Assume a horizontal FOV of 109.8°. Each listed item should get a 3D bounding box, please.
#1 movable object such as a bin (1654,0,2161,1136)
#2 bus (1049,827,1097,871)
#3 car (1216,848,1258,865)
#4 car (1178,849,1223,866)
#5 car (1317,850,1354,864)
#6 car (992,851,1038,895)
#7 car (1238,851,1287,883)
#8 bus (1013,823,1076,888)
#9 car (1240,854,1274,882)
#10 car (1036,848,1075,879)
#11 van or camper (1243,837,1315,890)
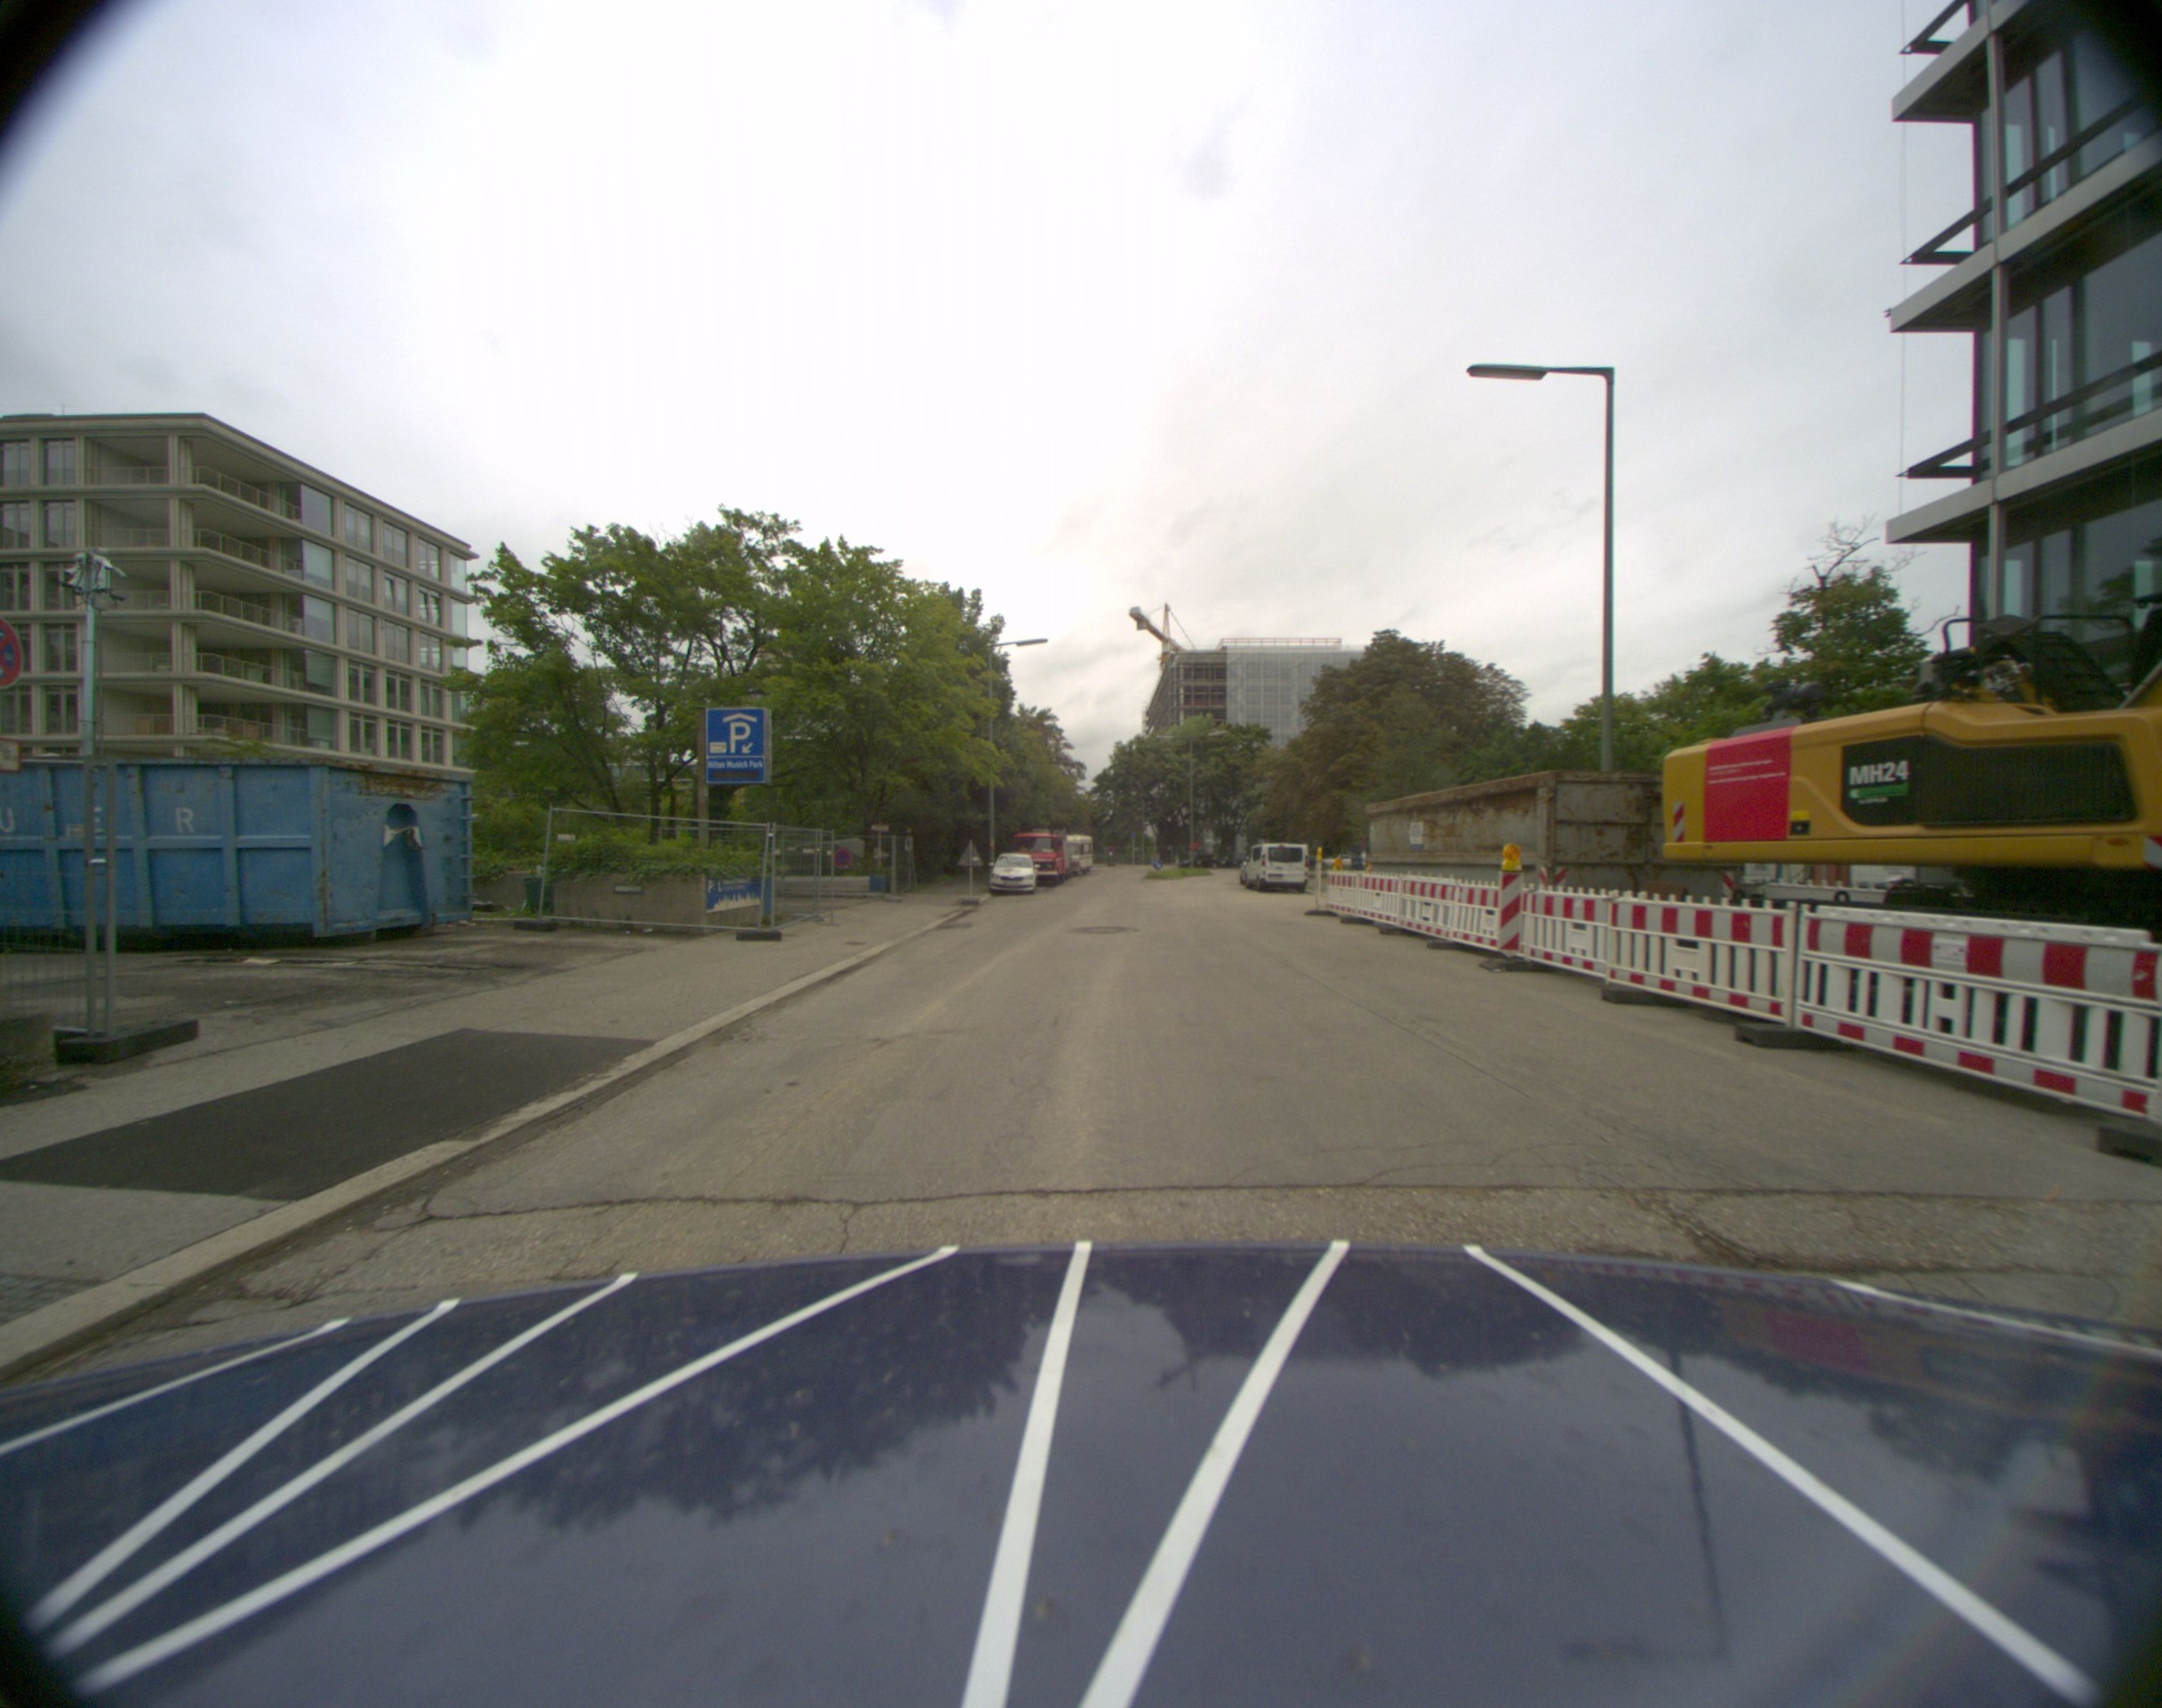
[{"bbox_3d":[7.514,-1.646,2.113,2.911,6.527,11.781,0,1,0],"label":"movable object such as a bin"},{"bbox_3d":[-0.447,-0.313,49.890,2.076,2.714,5.870,0,1,10],"label":"bus"},{"bbox_3d":[15.608,0.267,76.066,3.892,1.564,1.785,-1,2,-27],"label":"car"},{"bbox_3d":[11.622,0.314,73.895,3.891,1.564,1.786,-1,2,-22],"label":"car"},{"bbox_3d":[27.472,0.305,81.963,3.724,1.379,1.517,-1,2,-21],"label":"car"},{"bbox_3d":[-2.495,0.671,29.435,1.536,1.484,4.059,0,2,-2],"label":"car"},{"bbox_3d":[9.300,0.630,39.297,1.997,1.450,4.121,2,1,7],"label":"car"},{"bbox_3d":[-1.611,0.033,35.982,2.077,2.789,6.274,0,1,5],"label":"bus"},{"bbox_3d":[10.085,0.754,43.548,1.739,1.450,4.035,2,1,13],"label":"car"},{"bbox_3d":[-1.355,0.482,42.500,1.782,1.630,4.398,0,0,3],"label":"car"},{"bbox_3d":[8.319,0.363,32.477,1.993,2.022,5.588,1,0,4],"label":"van or camper"}]
